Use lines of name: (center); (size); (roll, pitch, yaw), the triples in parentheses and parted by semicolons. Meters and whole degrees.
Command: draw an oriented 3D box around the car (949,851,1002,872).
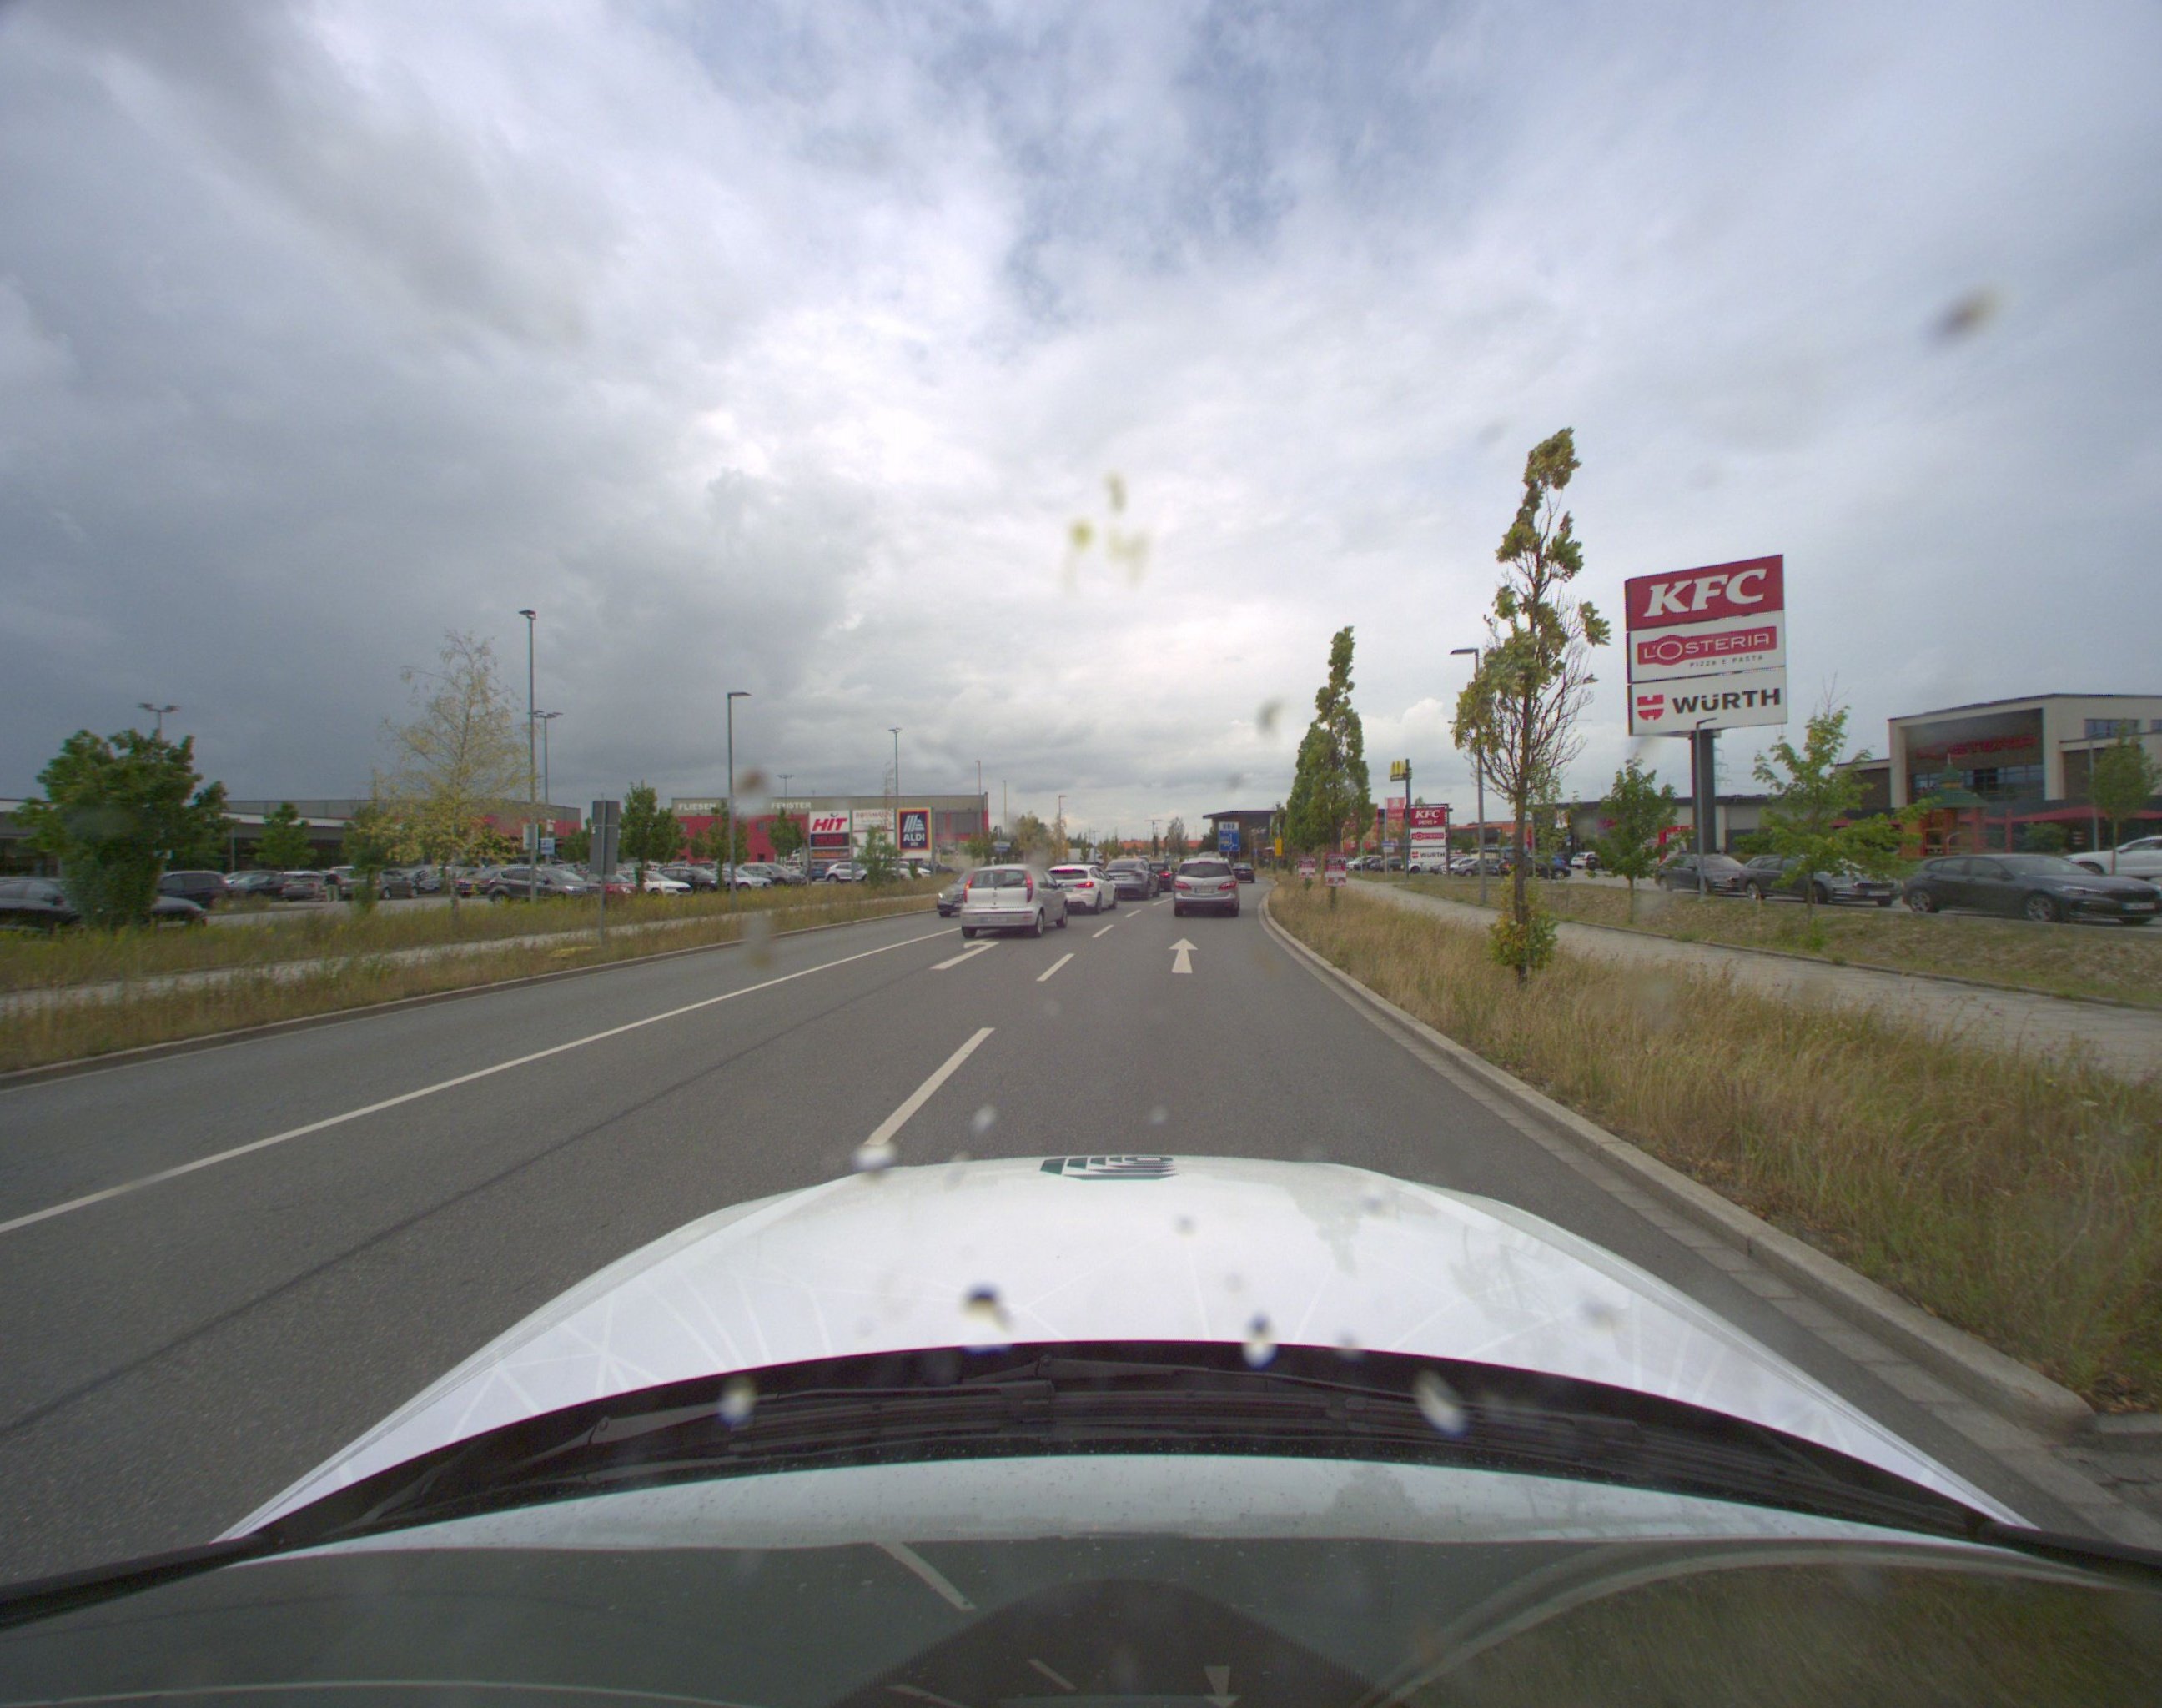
car: (-12.288, 0.851, 95.047); (6.064, 2.307, 2.204); (-1, -1, -8)

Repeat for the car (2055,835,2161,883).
car: (39.326, 0.157, 29.527); (1.998, 1.697, 4.766); (-1, 0, -16)

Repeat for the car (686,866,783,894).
car: (-18.508, 1.383, 43.574); (4.287, 1.340, 2.032); (-1, 0, 9)

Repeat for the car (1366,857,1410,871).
car: (33.166, 1.094, 88.031); (4.076, 1.438, 1.940); (-2, 0, -5)

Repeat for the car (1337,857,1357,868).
car: (34.852, 1.106, 106.692); (1.794, 1.313, 3.873); (-1, 0, 30)

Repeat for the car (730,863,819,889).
car: (-17.876, 1.252, 47.535); (4.326, 1.391, 2.174); (-1, 0, 14)

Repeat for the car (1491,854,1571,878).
car: (29.617, 0.791, 53.707); (4.234, 1.520, 1.972); (-1, -1, 11)

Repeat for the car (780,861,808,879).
car: (-28.957, 1.573, 82.183); (1.993, 1.729, 3.987); (-1, 0, -10)

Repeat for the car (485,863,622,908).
car: (-21.003, 1.255, 32.498); (4.273, 1.655, 2.087); (-1, 0, 10)

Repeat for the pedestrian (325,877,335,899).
pedestrian: (-36.302, 1.641, 39.364); (0.386, 1.049, 0.270); (-1, -1, 34)

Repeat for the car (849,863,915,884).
car: (-14.487, 1.399, 59.385); (4.213, 1.513, 2.053); (-1, -1, 13)

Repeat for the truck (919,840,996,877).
truck: (-12.123, 0.447, 81.006); (2.822, 3.541, 8.482); (-1, -1, 31)

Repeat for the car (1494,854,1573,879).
car: (28.448, 0.803, 51.299); (3.958, 1.494, 1.989); (-1, -1, 14)

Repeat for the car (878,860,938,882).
car: (-13.724, 1.339, 64.685); (4.229, 1.559, 1.991); (-1, 0, 3)

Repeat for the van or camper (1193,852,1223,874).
van or camper: (14.636, 1.034, 94.002); (2.298, 2.506, 5.198); (0, 0, -4)

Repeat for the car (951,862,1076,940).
car: (-1.315, 0.920, 17.618); (1.692, 1.438, 4.044); (-1, 0, 10)

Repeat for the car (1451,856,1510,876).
car: (31.076, 0.957, 63.415); (3.735, 1.494, 1.895); (-1, -1, 9)

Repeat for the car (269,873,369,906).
car: (-39.119, 1.809, 41.958); (1.832, 1.508, 3.987); (-1, 0, -10)

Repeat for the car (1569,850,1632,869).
car: (46.995, 0.471, 73.727); (4.557, 1.519, 2.076); (-2, 0, -7)

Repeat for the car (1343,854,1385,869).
car: (33.175, 0.911, 95.516); (4.345, 1.639, 1.932); (-1, 0, -9)

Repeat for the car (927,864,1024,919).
car: (-3.222, 1.118, 25.864); (1.775, 1.489, 4.778); (-2, 0, 8)

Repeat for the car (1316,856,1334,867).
car: (38.687, 1.181, 129.260); (1.975, 1.717, 4.024); (-1, -1, 27)

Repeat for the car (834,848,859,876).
car: (-23.854, 0.825, 82.893); (2.060, 2.690, 5.123); (-1, 0, -13)

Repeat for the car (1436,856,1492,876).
car: (32.008, 1.025, 68.153); (3.840, 1.481, 1.906); (-2, -1, 7)

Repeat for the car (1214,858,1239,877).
car: (14.798, 1.352, 83.078); (2.049, 1.826, 4.791); (-1, -1, 4)

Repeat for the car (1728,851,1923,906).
car: (21.671, 0.658, 24.033); (1.852, 1.437, 4.892); (-1, 0, 9)

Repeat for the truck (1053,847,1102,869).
truck: (-0.683, 0.768, 158.757); (9.295, 3.907, 3.136); (-1, -1, -7)

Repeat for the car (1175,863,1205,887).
car: (7.113, 1.346, 52.908); (1.819, 1.420, 4.255); (-1, -1, 8)

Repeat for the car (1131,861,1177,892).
car: (3.700, 1.121, 40.503); (1.757, 1.438, 4.245); (-1, -1, 12)

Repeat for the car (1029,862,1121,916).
car: (-0.089, 0.990, 24.626); (1.867, 1.469, 4.207); (-1, -1, 12)

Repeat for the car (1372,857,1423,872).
car: (33.003, 1.060, 85.079); (4.506, 1.469, 2.030); (-1, 0, -3)

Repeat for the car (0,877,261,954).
car: (-18.268, 1.126, 15.398); (4.052, 1.260, 2.018); (-1, 0, 13)

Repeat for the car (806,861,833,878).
car: (-26.382, 1.576, 82.178); (1.993, 1.607, 3.987); (-1, 0, -10)

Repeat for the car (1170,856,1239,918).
car: (3.579, 0.858, 23.077); (1.718, 1.600, 3.819); (0, 0, 12)

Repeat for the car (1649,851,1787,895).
car: (22.920, 0.637, 29.567); (1.949, 1.460, 4.847); (-1, 0, 11)

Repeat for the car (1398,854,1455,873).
car: (33.079, 0.914, 78.028); (4.543, 1.645, 2.089); (-3, -1, 2)

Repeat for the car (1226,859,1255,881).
car: (10.889, 1.076, 55.646); (1.833, 1.418, 4.238); (-1, 0, 11)

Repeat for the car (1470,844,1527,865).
car: (50.785, 0.092, 99.106); (5.663, 2.351, 2.532); (-1, 0, -5)

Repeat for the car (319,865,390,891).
car: (-52.742, 1.717, 59.238); (1.993, 1.732, 3.987); (-1, 0, -10)

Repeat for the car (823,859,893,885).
car: (-15.563, 1.264, 56.914); (4.218, 1.723, 2.033); (-1, -1, 8)

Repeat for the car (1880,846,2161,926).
car: (20.559, 0.659, 17.816); (1.982, 1.496, 4.617); (-1, -1, 7)

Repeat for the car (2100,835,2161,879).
car: (41.913, 0.092, 30.319); (2.133, 1.678, 4.508); (-1, 0, -20)

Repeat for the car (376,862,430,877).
car: (-72.399, 1.652, 86.993); (3.976, 1.607, 1.999); (-1, -1, -2)

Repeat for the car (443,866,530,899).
car: (-31.197, 1.459, 42.858); (1.992, 1.607, 3.989); (-1, 0, -8)

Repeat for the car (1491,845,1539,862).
car: (65.524, -0.072, 122.941); (5.969, 2.528, 2.296); (-1, 0, 40)

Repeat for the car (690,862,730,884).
car: (-28.811, 1.427, 63.351); (1.848, 1.607, 3.987); (-1, 0, -10)

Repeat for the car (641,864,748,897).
car: (-19.289, 1.313, 40.714); (4.335, 1.505, 2.248); (-1, 0, 13)

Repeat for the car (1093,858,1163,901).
car: (1.981, 0.976, 32.591); (1.979, 1.561, 4.629); (-1, 0, 13)

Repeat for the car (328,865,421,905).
car: (-36.443, 1.549, 42.177); (1.835, 1.922, 4.425); (-1, 0, -15)

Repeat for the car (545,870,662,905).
car: (-20.494, 1.425, 35.007); (4.055, 1.391, 2.008); (-1, 0, 14)

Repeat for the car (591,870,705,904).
car: (-19.861, 1.497, 37.417); (4.290, 1.456, 2.017); (-1, 0, 11)

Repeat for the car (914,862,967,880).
car: (-12.410, 1.479, 72.183); (4.210, 1.435, 2.001); (-1, 0, 6)

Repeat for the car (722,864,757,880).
car: (-33.811, 1.754, 80.816); (1.991, 1.519, 4.221); (-1, 0, -6)
